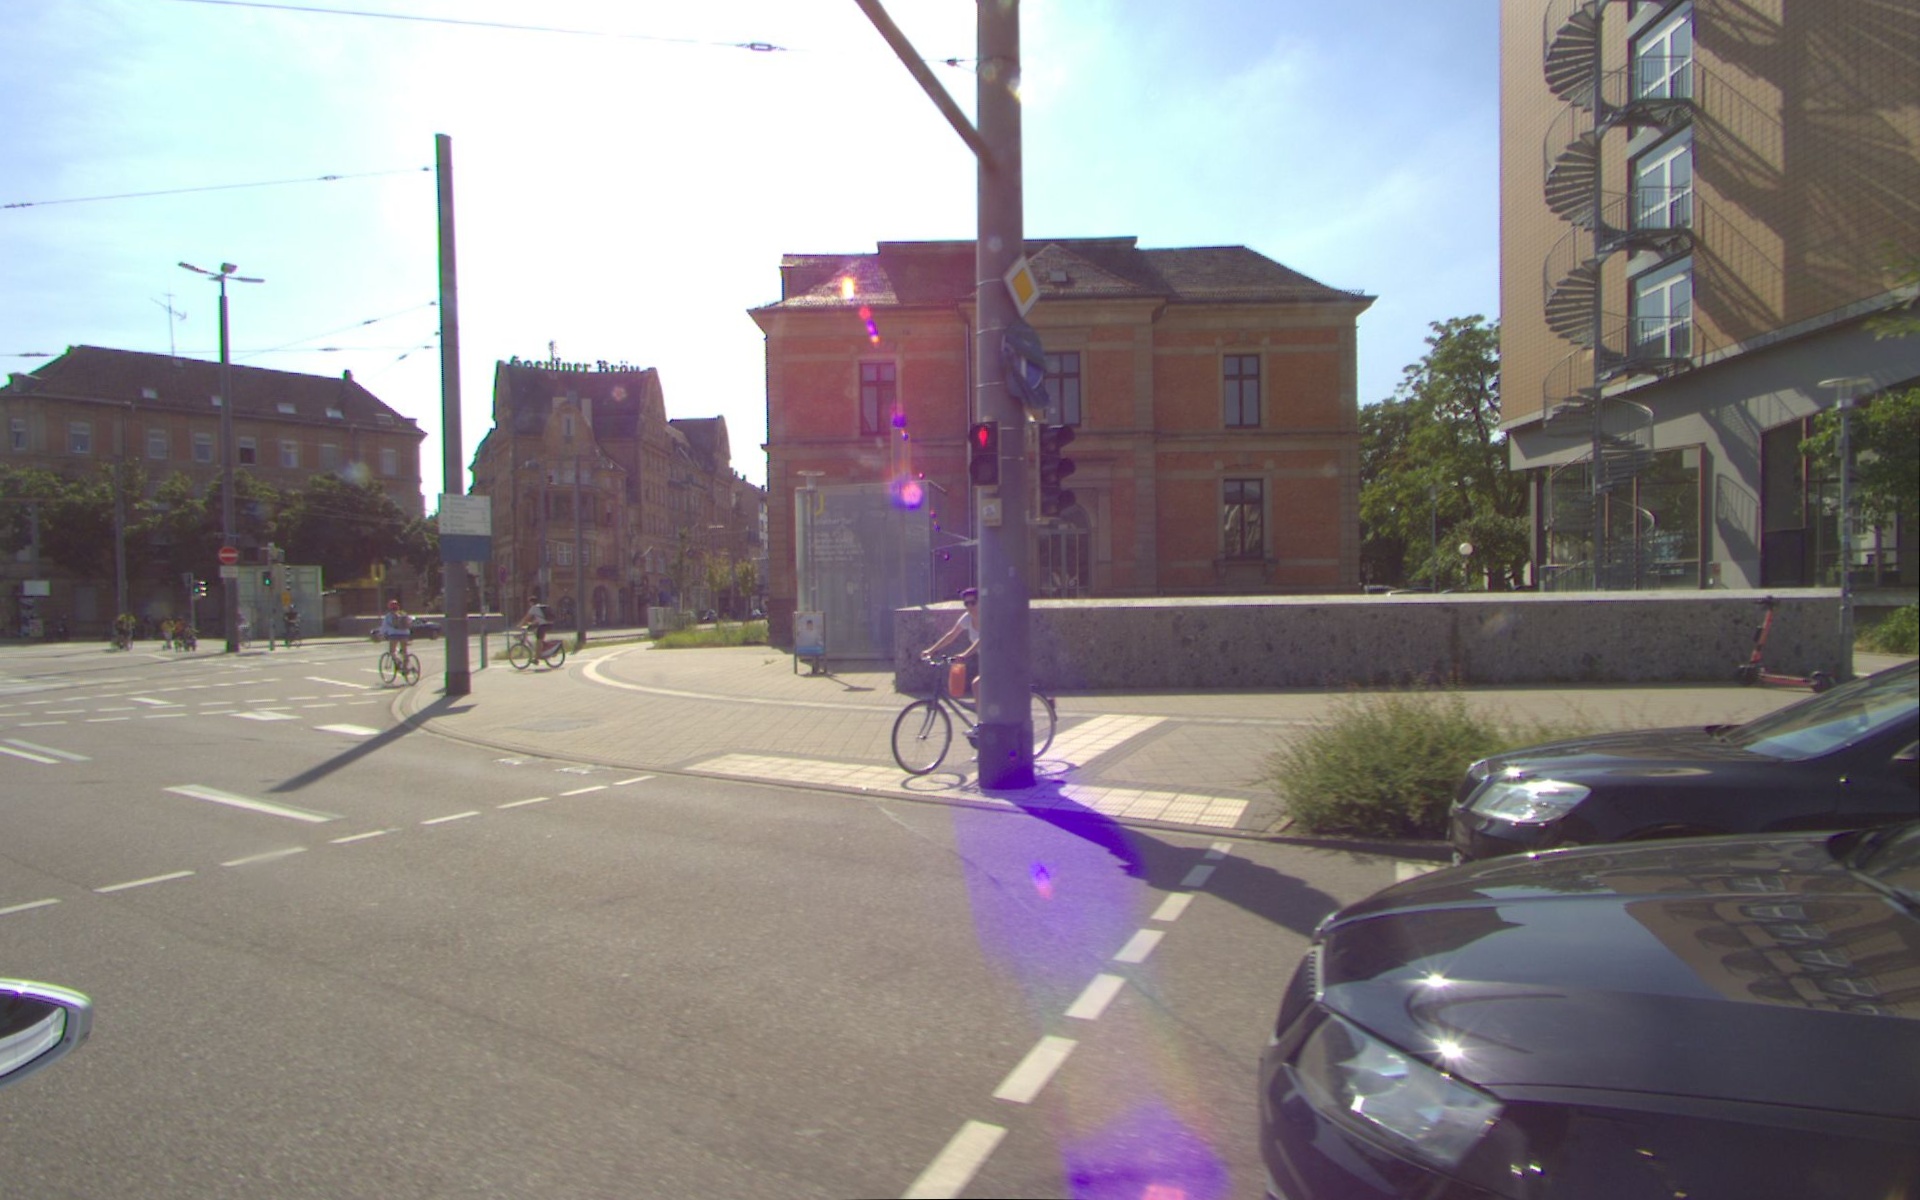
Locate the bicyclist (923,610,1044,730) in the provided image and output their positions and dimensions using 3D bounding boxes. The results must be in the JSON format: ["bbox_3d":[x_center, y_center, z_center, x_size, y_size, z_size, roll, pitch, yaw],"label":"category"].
[{"bbox_3d":[0.216,0.640,9.622,0.902,1.043,0.713,-3,2,-26],"label":"bicyclist"}]

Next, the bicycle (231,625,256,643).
[{"bbox_3d":[-34.605,1.626,48.348,1.566,0.877,0.499,-1,-2,36],"label":"bicycle"}]

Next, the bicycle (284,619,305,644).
[{"bbox_3d":[-29.480,1.391,44.326,0.661,1.083,2.446,1,-1,-36],"label":"bicycle"}]

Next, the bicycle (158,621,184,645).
[{"bbox_3d":[-37.346,1.547,47.367,0.919,1.083,2.818,1,-1,-39],"label":"bicycle"}]

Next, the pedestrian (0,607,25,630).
[{"bbox_3d":[-60.670,1.207,64.114,0.869,1.452,0.712,-1,1,-6],"label":"pedestrian"}]

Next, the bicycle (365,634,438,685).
[{"bbox_3d":[-12.633,1.323,22.616,1.996,1.029,0.711,-1,2,39],"label":"bicycle"}]

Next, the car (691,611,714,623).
[{"bbox_3d":[-28.729,1.879,111.963,1.606,1.363,3.610,-1,0,0],"label":"car"}]

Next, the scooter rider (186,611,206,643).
[{"bbox_3d":[-34.124,1.230,44.744,0.401,1.415,0.586,-1,-2,30],"label":"scooter rider"}]

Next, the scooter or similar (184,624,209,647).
[{"bbox_3d":[-34.111,1.580,44.731,0.977,0.988,0.586,-1,-2,31],"label":"scooter or similar"}]

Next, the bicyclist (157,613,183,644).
[{"bbox_3d":[-37.378,1.350,47.395,0.919,1.470,1.241,1,-1,-40],"label":"bicyclist"}]

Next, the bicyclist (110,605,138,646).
[{"bbox_3d":[-38.485,1.194,46.114,0.918,1.843,1.044,1,-2,-38],"label":"bicyclist"}]

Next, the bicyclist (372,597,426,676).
[{"bbox_3d":[-12.650,0.810,22.583,0.864,1.692,0.711,0,3,39],"label":"bicyclist"}]

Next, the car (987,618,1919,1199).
[{"bbox_3d":[2.490,0.735,1.262,4.708,1.453,1.629,-2,-1,30],"label":"car"}]

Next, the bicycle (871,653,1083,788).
[{"bbox_3d":[0.176,1.107,9.605,1.888,1.029,0.713,-3,2,-26],"label":"bicycle"}]

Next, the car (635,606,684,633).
[{"bbox_3d":[-15.816,1.015,52.852,1.639,1.331,3.452,-1,0,-2],"label":"car"}]

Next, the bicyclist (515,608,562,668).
[{"bbox_3d":[-10.816,0.978,25.723,0.932,1.506,0.717,0,-2,-4],"label":"bicyclist"}]

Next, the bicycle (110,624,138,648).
[{"bbox_3d":[-38.664,1.667,46.334,0.919,1.082,2.726,1,-3,-38],"label":"bicycle"}]

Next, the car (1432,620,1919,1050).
[{"bbox_3d":[4.244,0.806,3.735,4.336,1.448,1.697,-1,-1,33],"label":"car"}]

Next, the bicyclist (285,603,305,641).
[{"bbox_3d":[-29.002,0.961,43.682,0.661,1.645,0.777,1,-1,-36],"label":"bicyclist"}]

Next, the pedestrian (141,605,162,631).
[{"bbox_3d":[-46.455,1.024,57.568,0.699,1.451,0.614,0,-1,-7],"label":"pedestrian"}]

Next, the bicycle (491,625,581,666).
[{"bbox_3d":[-10.872,1.173,25.711,1.981,1.028,0.717,0,-2,-4],"label":"bicycle"}]

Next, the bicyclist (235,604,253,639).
[{"bbox_3d":[-34.574,1.042,48.342,0.641,1.642,0.499,0,-1,36],"label":"bicyclist"}]

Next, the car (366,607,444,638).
[{"bbox_3d":[-30.947,1.230,55.923,1.607,1.604,3.997,-1,0,11],"label":"car"}]
